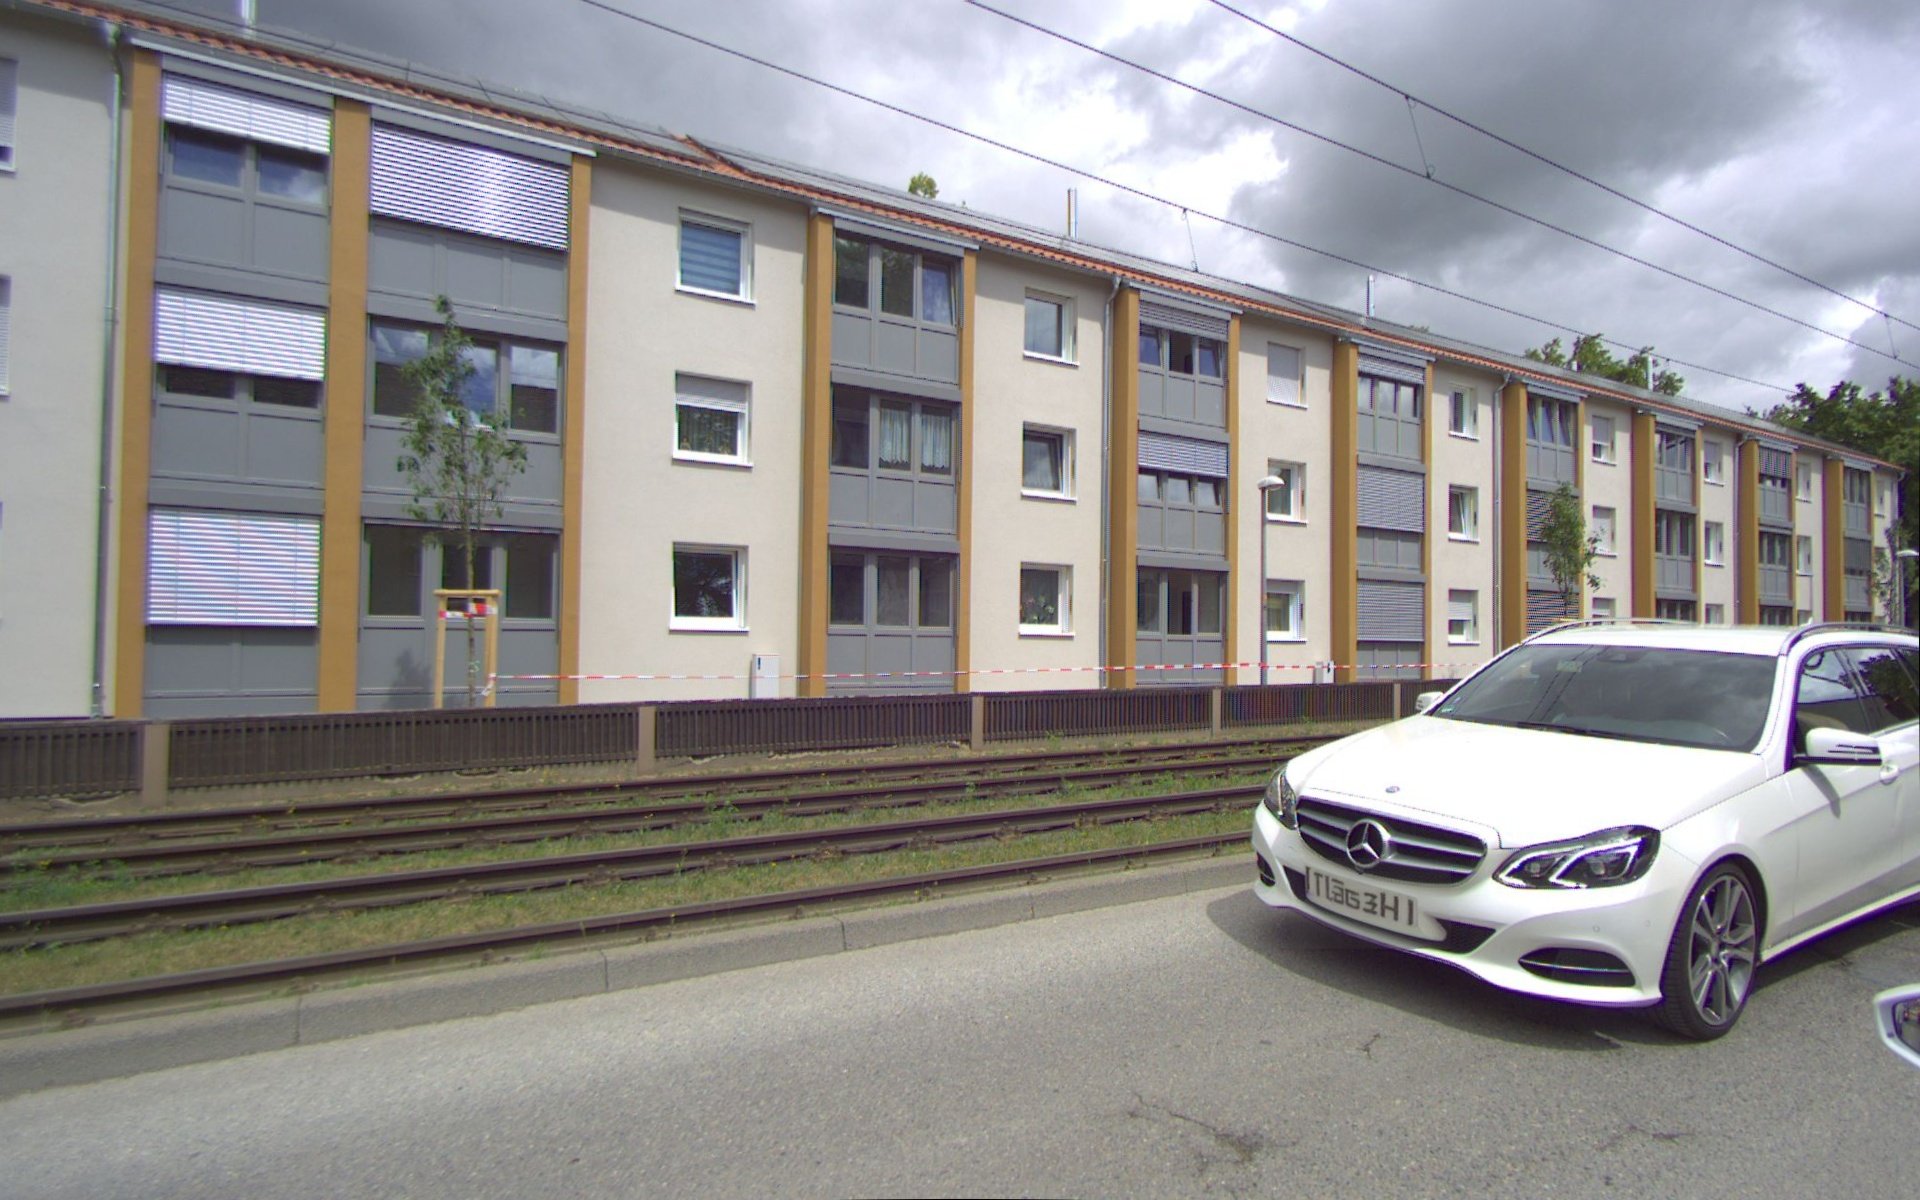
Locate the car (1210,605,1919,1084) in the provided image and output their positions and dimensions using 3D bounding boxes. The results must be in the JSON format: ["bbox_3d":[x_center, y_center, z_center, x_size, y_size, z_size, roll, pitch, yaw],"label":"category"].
[{"bbox_3d":[3.592,0.823,5.149,4.476,1.500,1.870,1,0,-31],"label":"car"}]
